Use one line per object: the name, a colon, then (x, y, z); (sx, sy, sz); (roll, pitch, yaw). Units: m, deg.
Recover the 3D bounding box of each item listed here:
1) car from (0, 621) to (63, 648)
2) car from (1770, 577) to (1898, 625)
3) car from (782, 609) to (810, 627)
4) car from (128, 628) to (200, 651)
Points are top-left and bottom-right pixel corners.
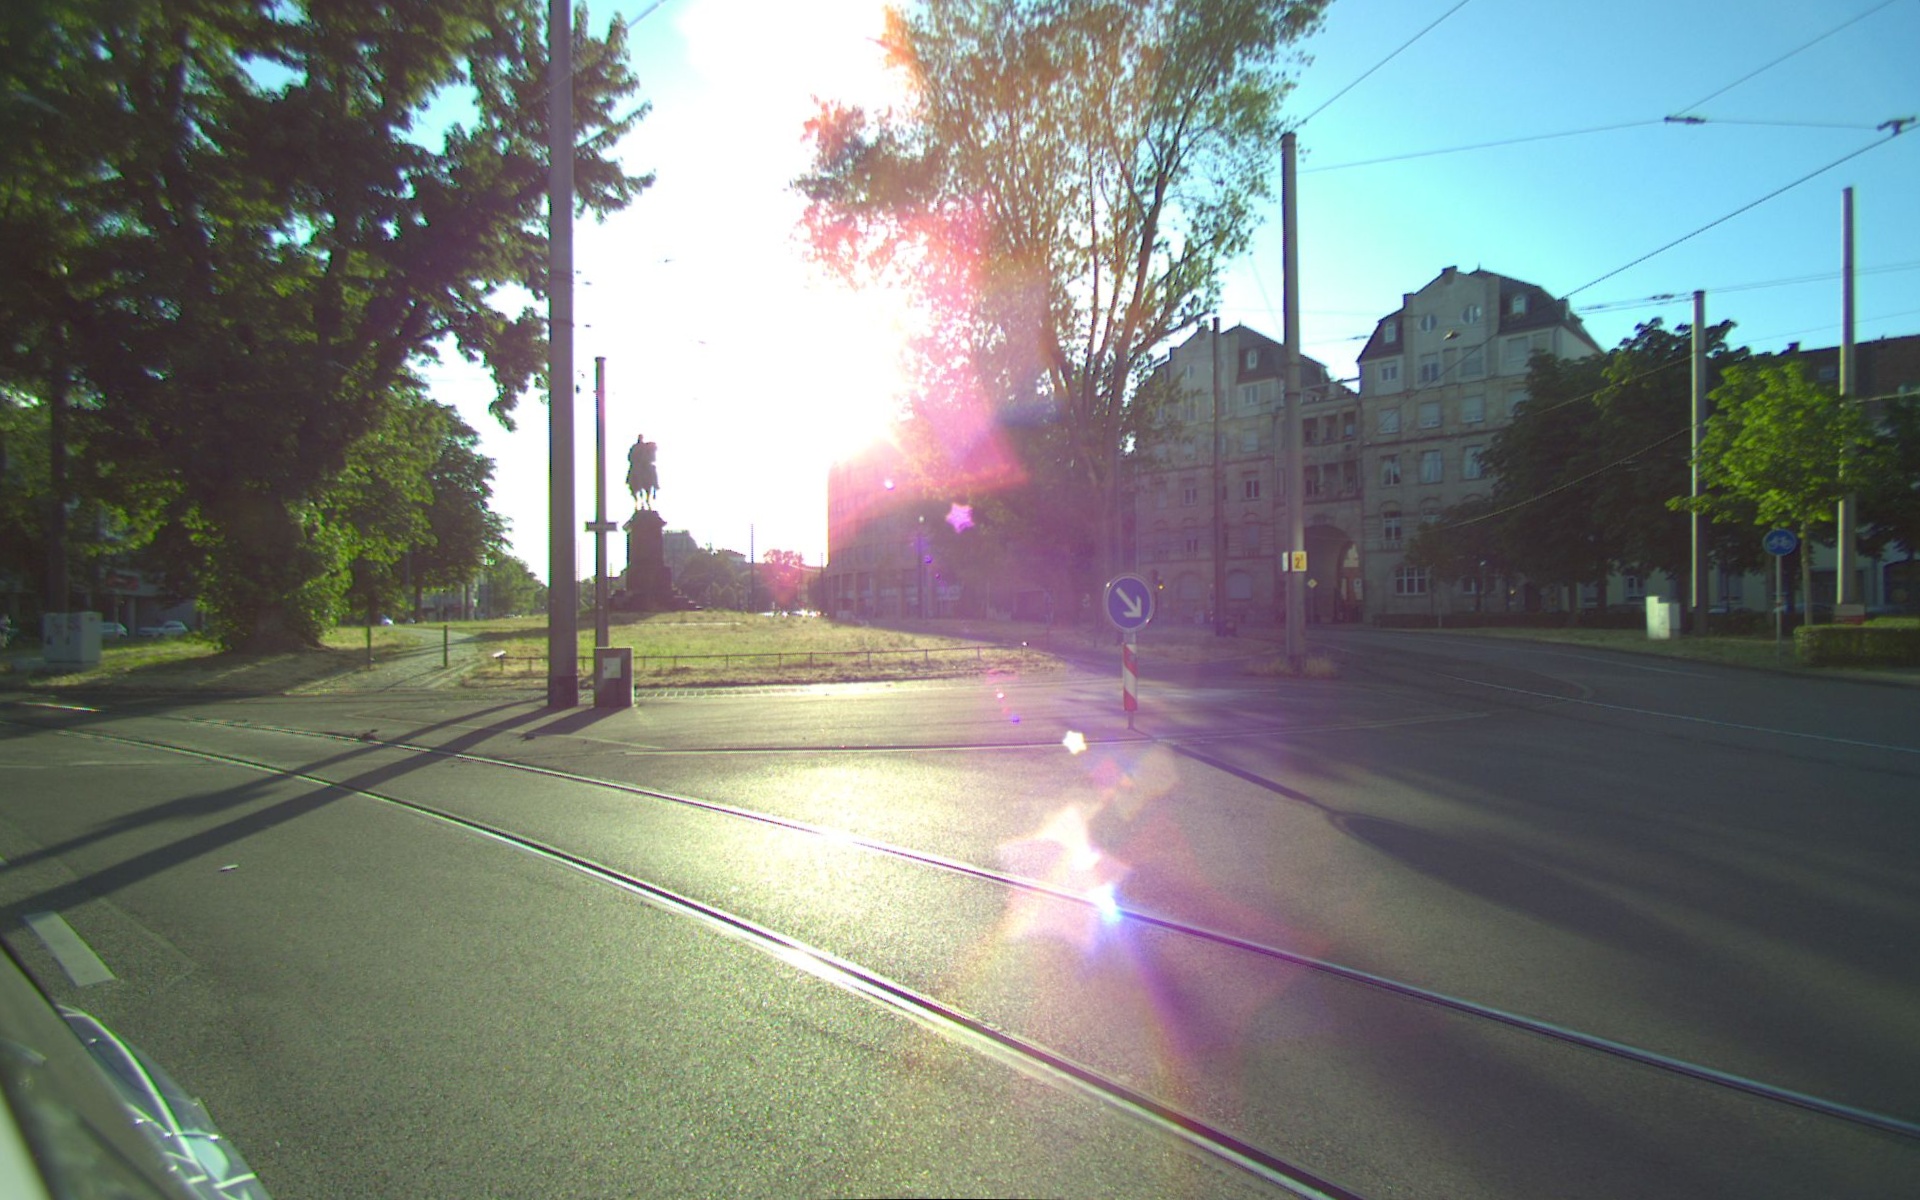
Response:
car: (-62.453, 2.290, 66.987); (1.974, 1.617, 4.519); (-2, 0, 3)
car: (38.182, 0.060, 44.274); (1.970, 2.029, 4.004); (-1, 0, -43)
car: (-19.071, 2.071, 117.488); (1.965, 2.029, 4.563); (-1, 0, -26)
car: (-62.569, 3.091, 79.666); (1.974, 1.617, 4.519); (-2, 0, 3)
